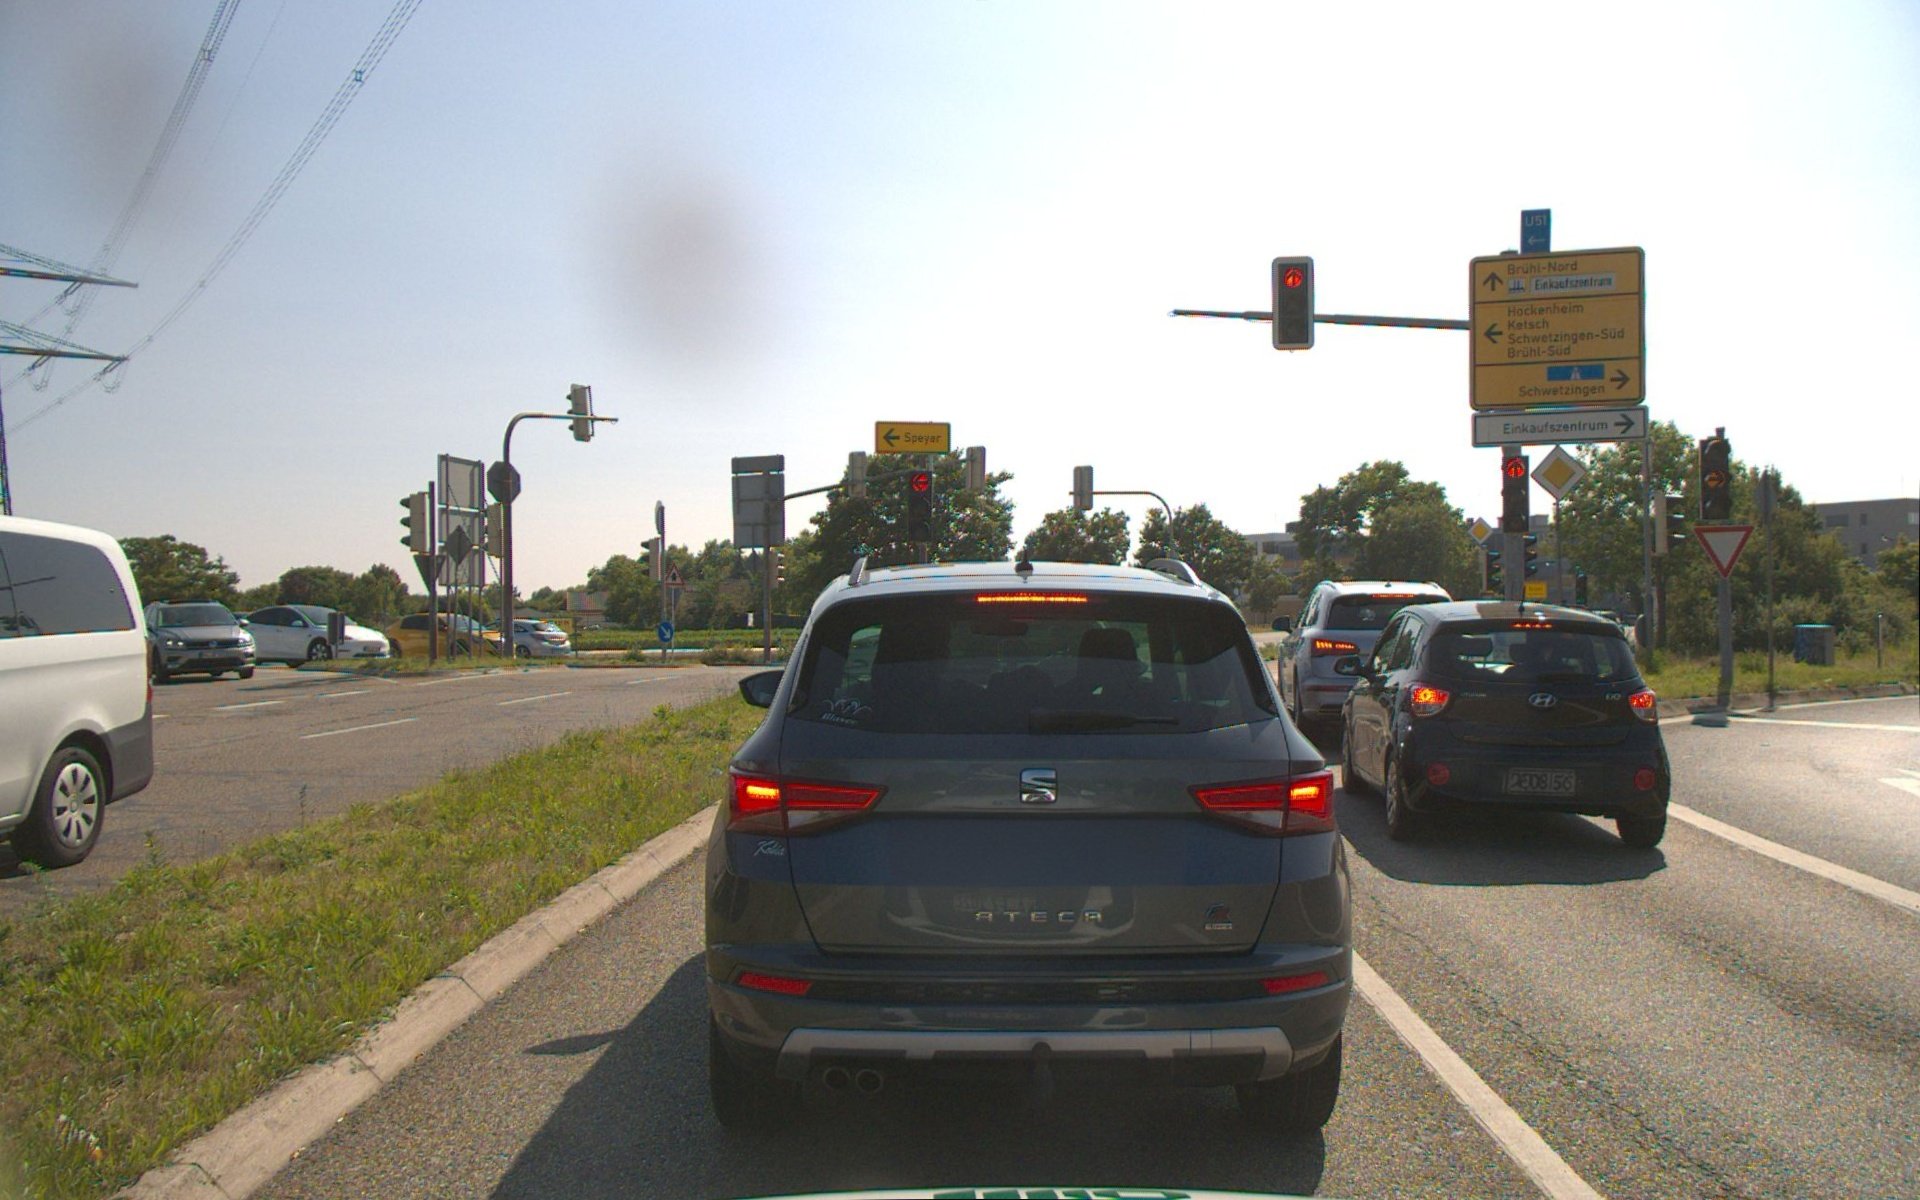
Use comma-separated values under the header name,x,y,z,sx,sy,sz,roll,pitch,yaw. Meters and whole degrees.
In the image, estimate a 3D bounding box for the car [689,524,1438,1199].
name,x,y,z,sx,sy,sz,roll,pitch,yaw
car,0.219,0.651,5.639,1.706,1.596,3.623,1,0,-1

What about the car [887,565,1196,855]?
name,x,y,z,sx,sy,sz,roll,pitch,yaw
car,0.465,0.631,11.129,1.706,1.596,3.624,1,0,0

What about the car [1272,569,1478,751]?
name,x,y,z,sx,sy,sz,roll,pitch,yaw
car,4.293,0.574,17.605,1.598,1.706,3.752,1,0,6

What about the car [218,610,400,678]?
name,x,y,z,sx,sy,sz,roll,pitch,yaw
car,-17.073,1.114,43.318,4.654,1.680,1.818,0,-1,27

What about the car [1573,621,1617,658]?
name,x,y,z,sx,sy,sz,roll,pitch,yaw
car,31.593,1.944,82.231,1.839,1.702,3.767,1,0,24

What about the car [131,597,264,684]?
name,x,y,z,sx,sy,sz,roll,pitch,yaw
car,-15.791,0.810,34.158,1.800,1.680,3.949,0,0,-36

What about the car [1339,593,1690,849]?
name,x,y,z,sx,sy,sz,roll,pitch,yaw
car,3.628,0.706,11.365,1.598,1.473,3.297,1,0,6

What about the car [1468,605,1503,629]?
name,x,y,z,sx,sy,sz,roll,pitch,yaw
car,39.901,1.290,125.565,1.841,1.702,3.765,1,0,28

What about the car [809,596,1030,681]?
name,x,y,z,sx,sy,sz,roll,pitch,yaw
car,-0.730,0.683,30.974,3.866,1.490,1.702,0,0,-35

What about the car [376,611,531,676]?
name,x,y,z,sx,sy,sz,roll,pitch,yaw
car,-13.885,1.171,45.311,3.910,1.680,1.818,-1,0,27

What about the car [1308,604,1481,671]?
name,x,y,z,sx,sy,sz,roll,pitch,yaw
car,10.375,0.874,39.477,3.789,1.545,1.807,-1,0,23

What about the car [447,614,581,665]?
name,x,y,z,sx,sy,sz,roll,pitch,yaw
car,-13.947,1.222,51.678,3.791,1.545,1.806,-1,0,25

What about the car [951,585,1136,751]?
name,x,y,z,sx,sy,sz,roll,pitch,yaw
car,0.918,0.647,17.257,1.705,1.510,3.626,1,0,4

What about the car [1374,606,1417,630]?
name,x,y,z,sx,sy,sz,roll,pitch,yaw
car,29.374,1.207,111.501,1.681,1.576,3.599,1,0,34

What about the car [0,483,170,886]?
name,x,y,z,sx,sy,sz,roll,pitch,yaw
car,-5.618,0.404,7.208,1.953,1.951,4.948,1,0,0
